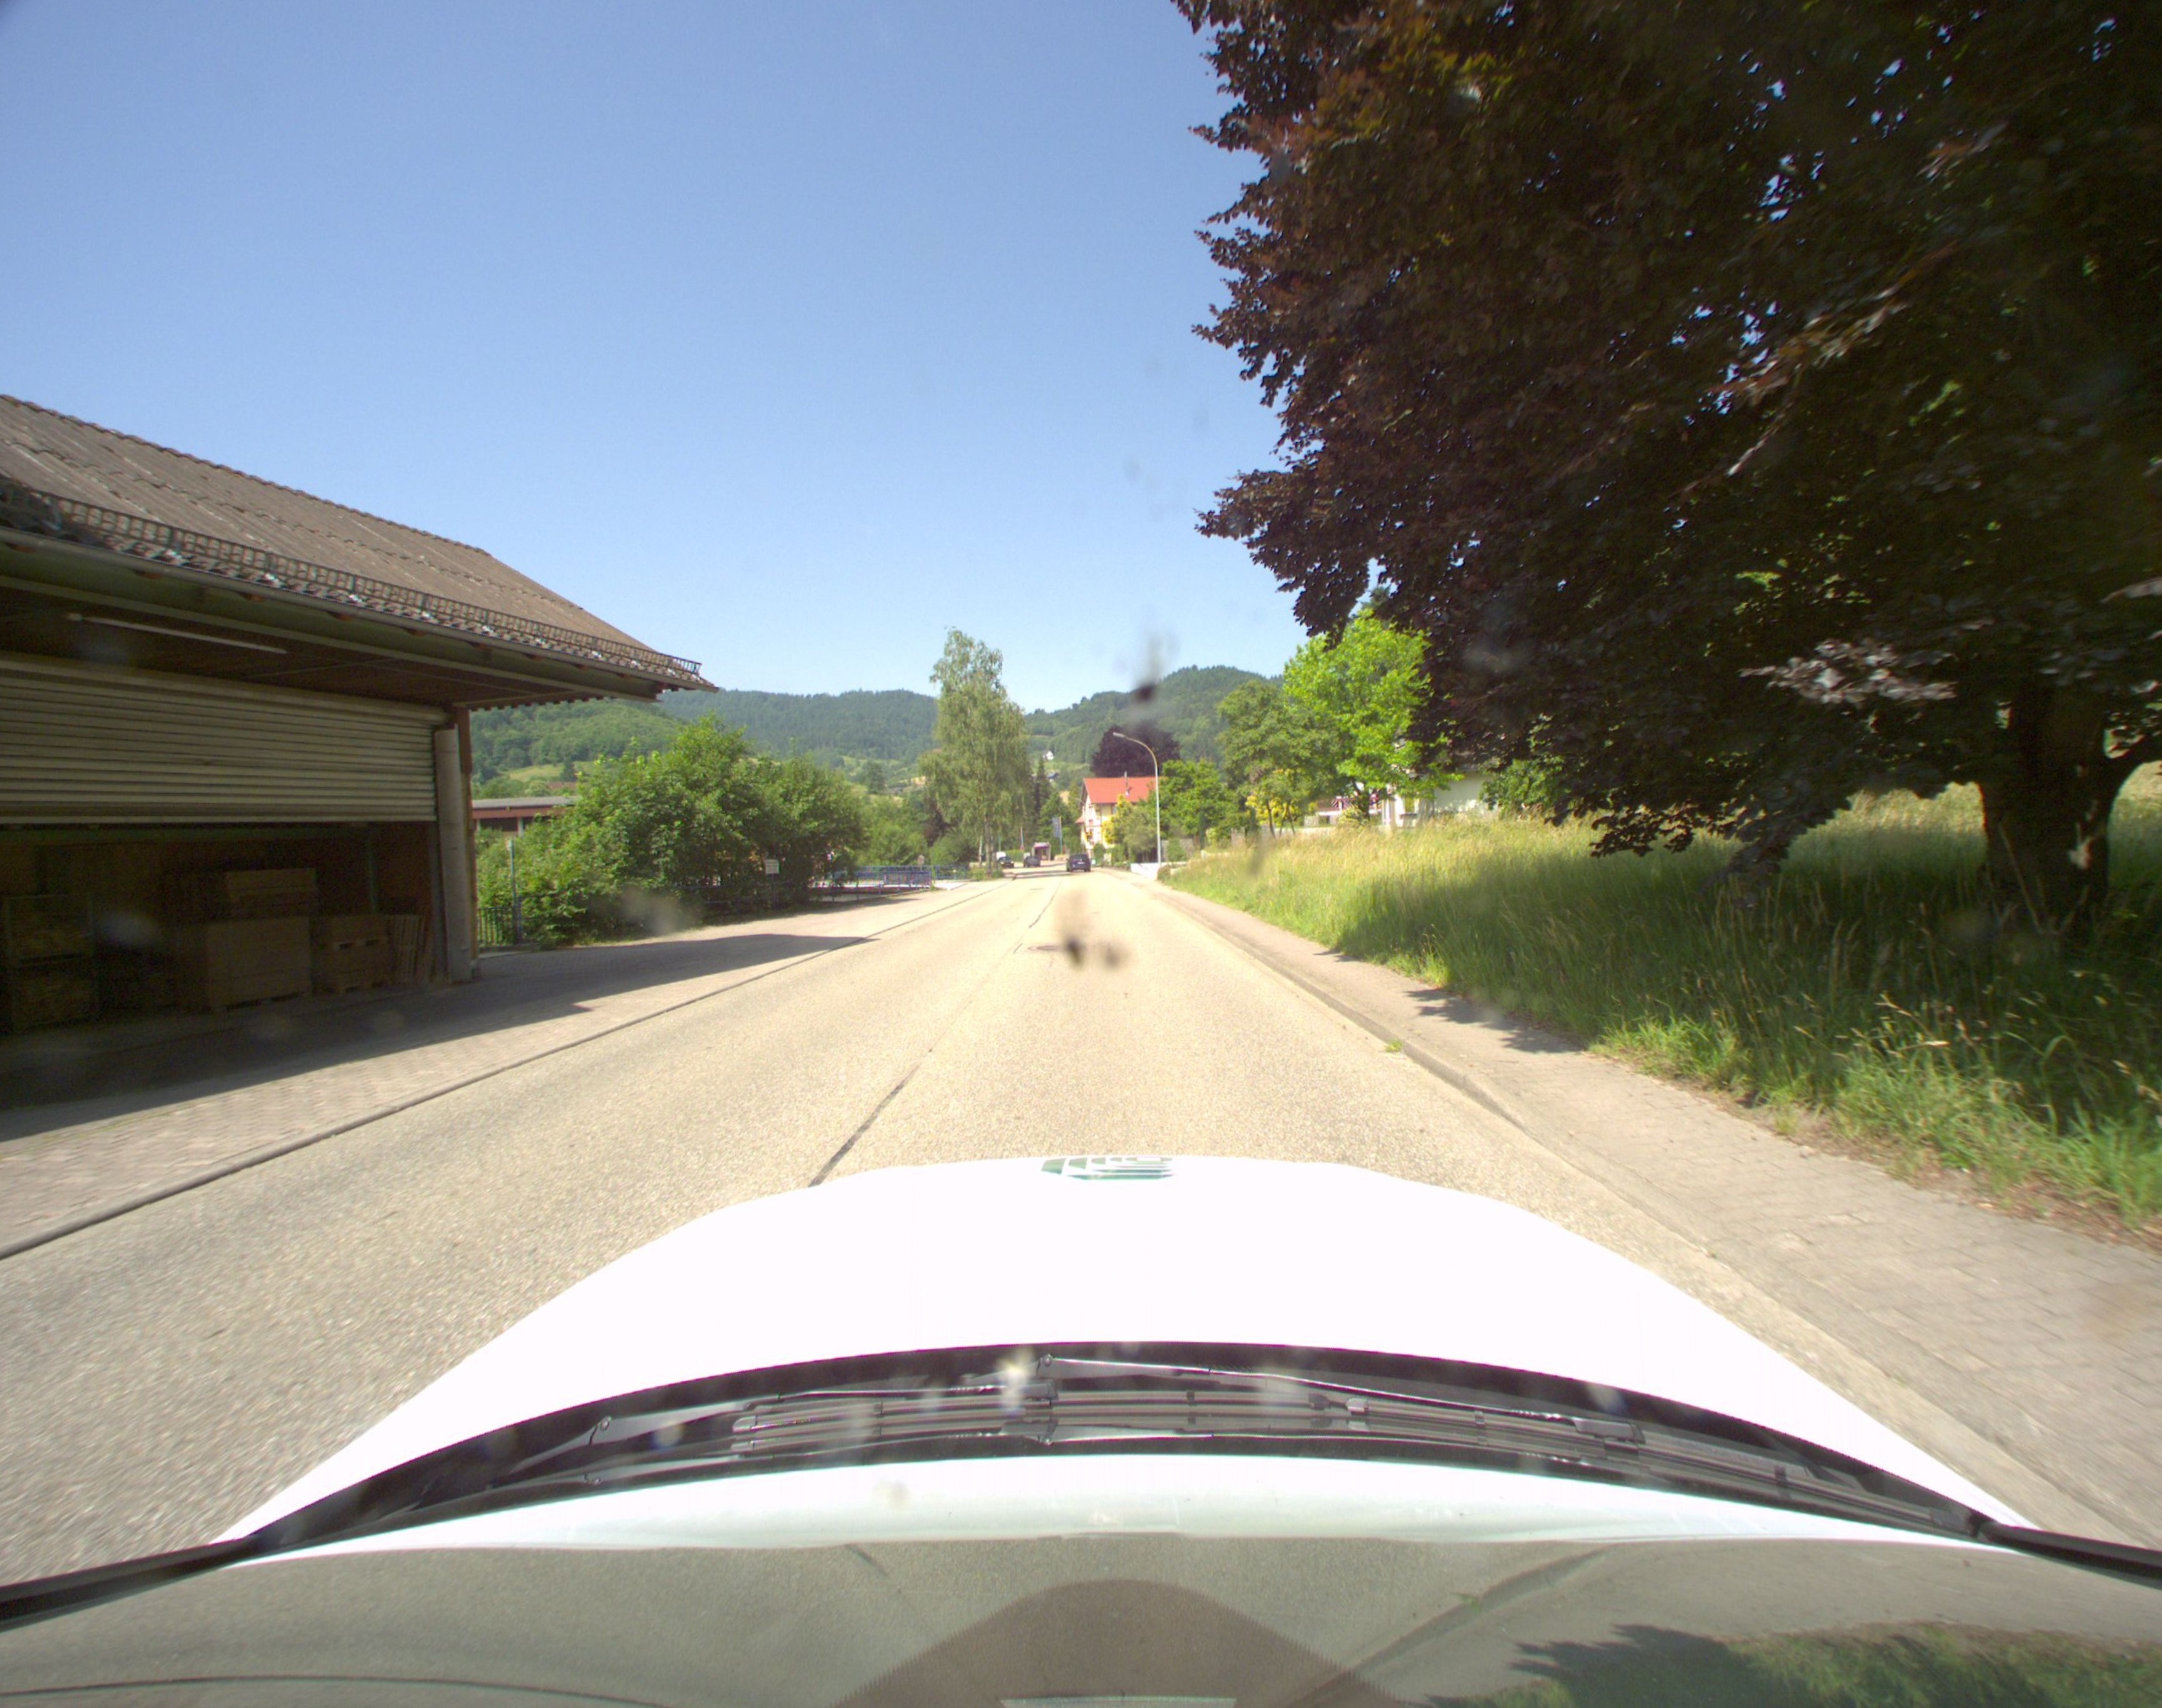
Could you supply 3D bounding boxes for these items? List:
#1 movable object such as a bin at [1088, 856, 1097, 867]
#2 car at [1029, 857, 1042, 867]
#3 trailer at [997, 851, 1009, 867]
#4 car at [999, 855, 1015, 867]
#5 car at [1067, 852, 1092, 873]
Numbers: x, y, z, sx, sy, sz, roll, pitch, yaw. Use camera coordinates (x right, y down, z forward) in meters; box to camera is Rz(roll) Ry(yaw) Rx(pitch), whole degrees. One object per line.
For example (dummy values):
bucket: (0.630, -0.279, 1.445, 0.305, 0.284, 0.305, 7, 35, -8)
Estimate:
movable object such as a bin: (1.155, 0.780, 83.610, 0.809, 1.042, 0.577, -3, 0, -9)
car: (-5.878, 0.977, 104.282, 1.472, 1.209, 2.383, -3, 0, -1)
trailer: (-10.377, 0.644, 108.585, 1.465, 2.077, 3.662, -3, 0, -6)
car: (-9.551, 0.877, 104.501, 1.813, 1.500, 4.137, -3, 0, -8)
car: (-0.145, 0.748, 70.968, 1.916, 1.698, 3.783, -3, 0, -4)
